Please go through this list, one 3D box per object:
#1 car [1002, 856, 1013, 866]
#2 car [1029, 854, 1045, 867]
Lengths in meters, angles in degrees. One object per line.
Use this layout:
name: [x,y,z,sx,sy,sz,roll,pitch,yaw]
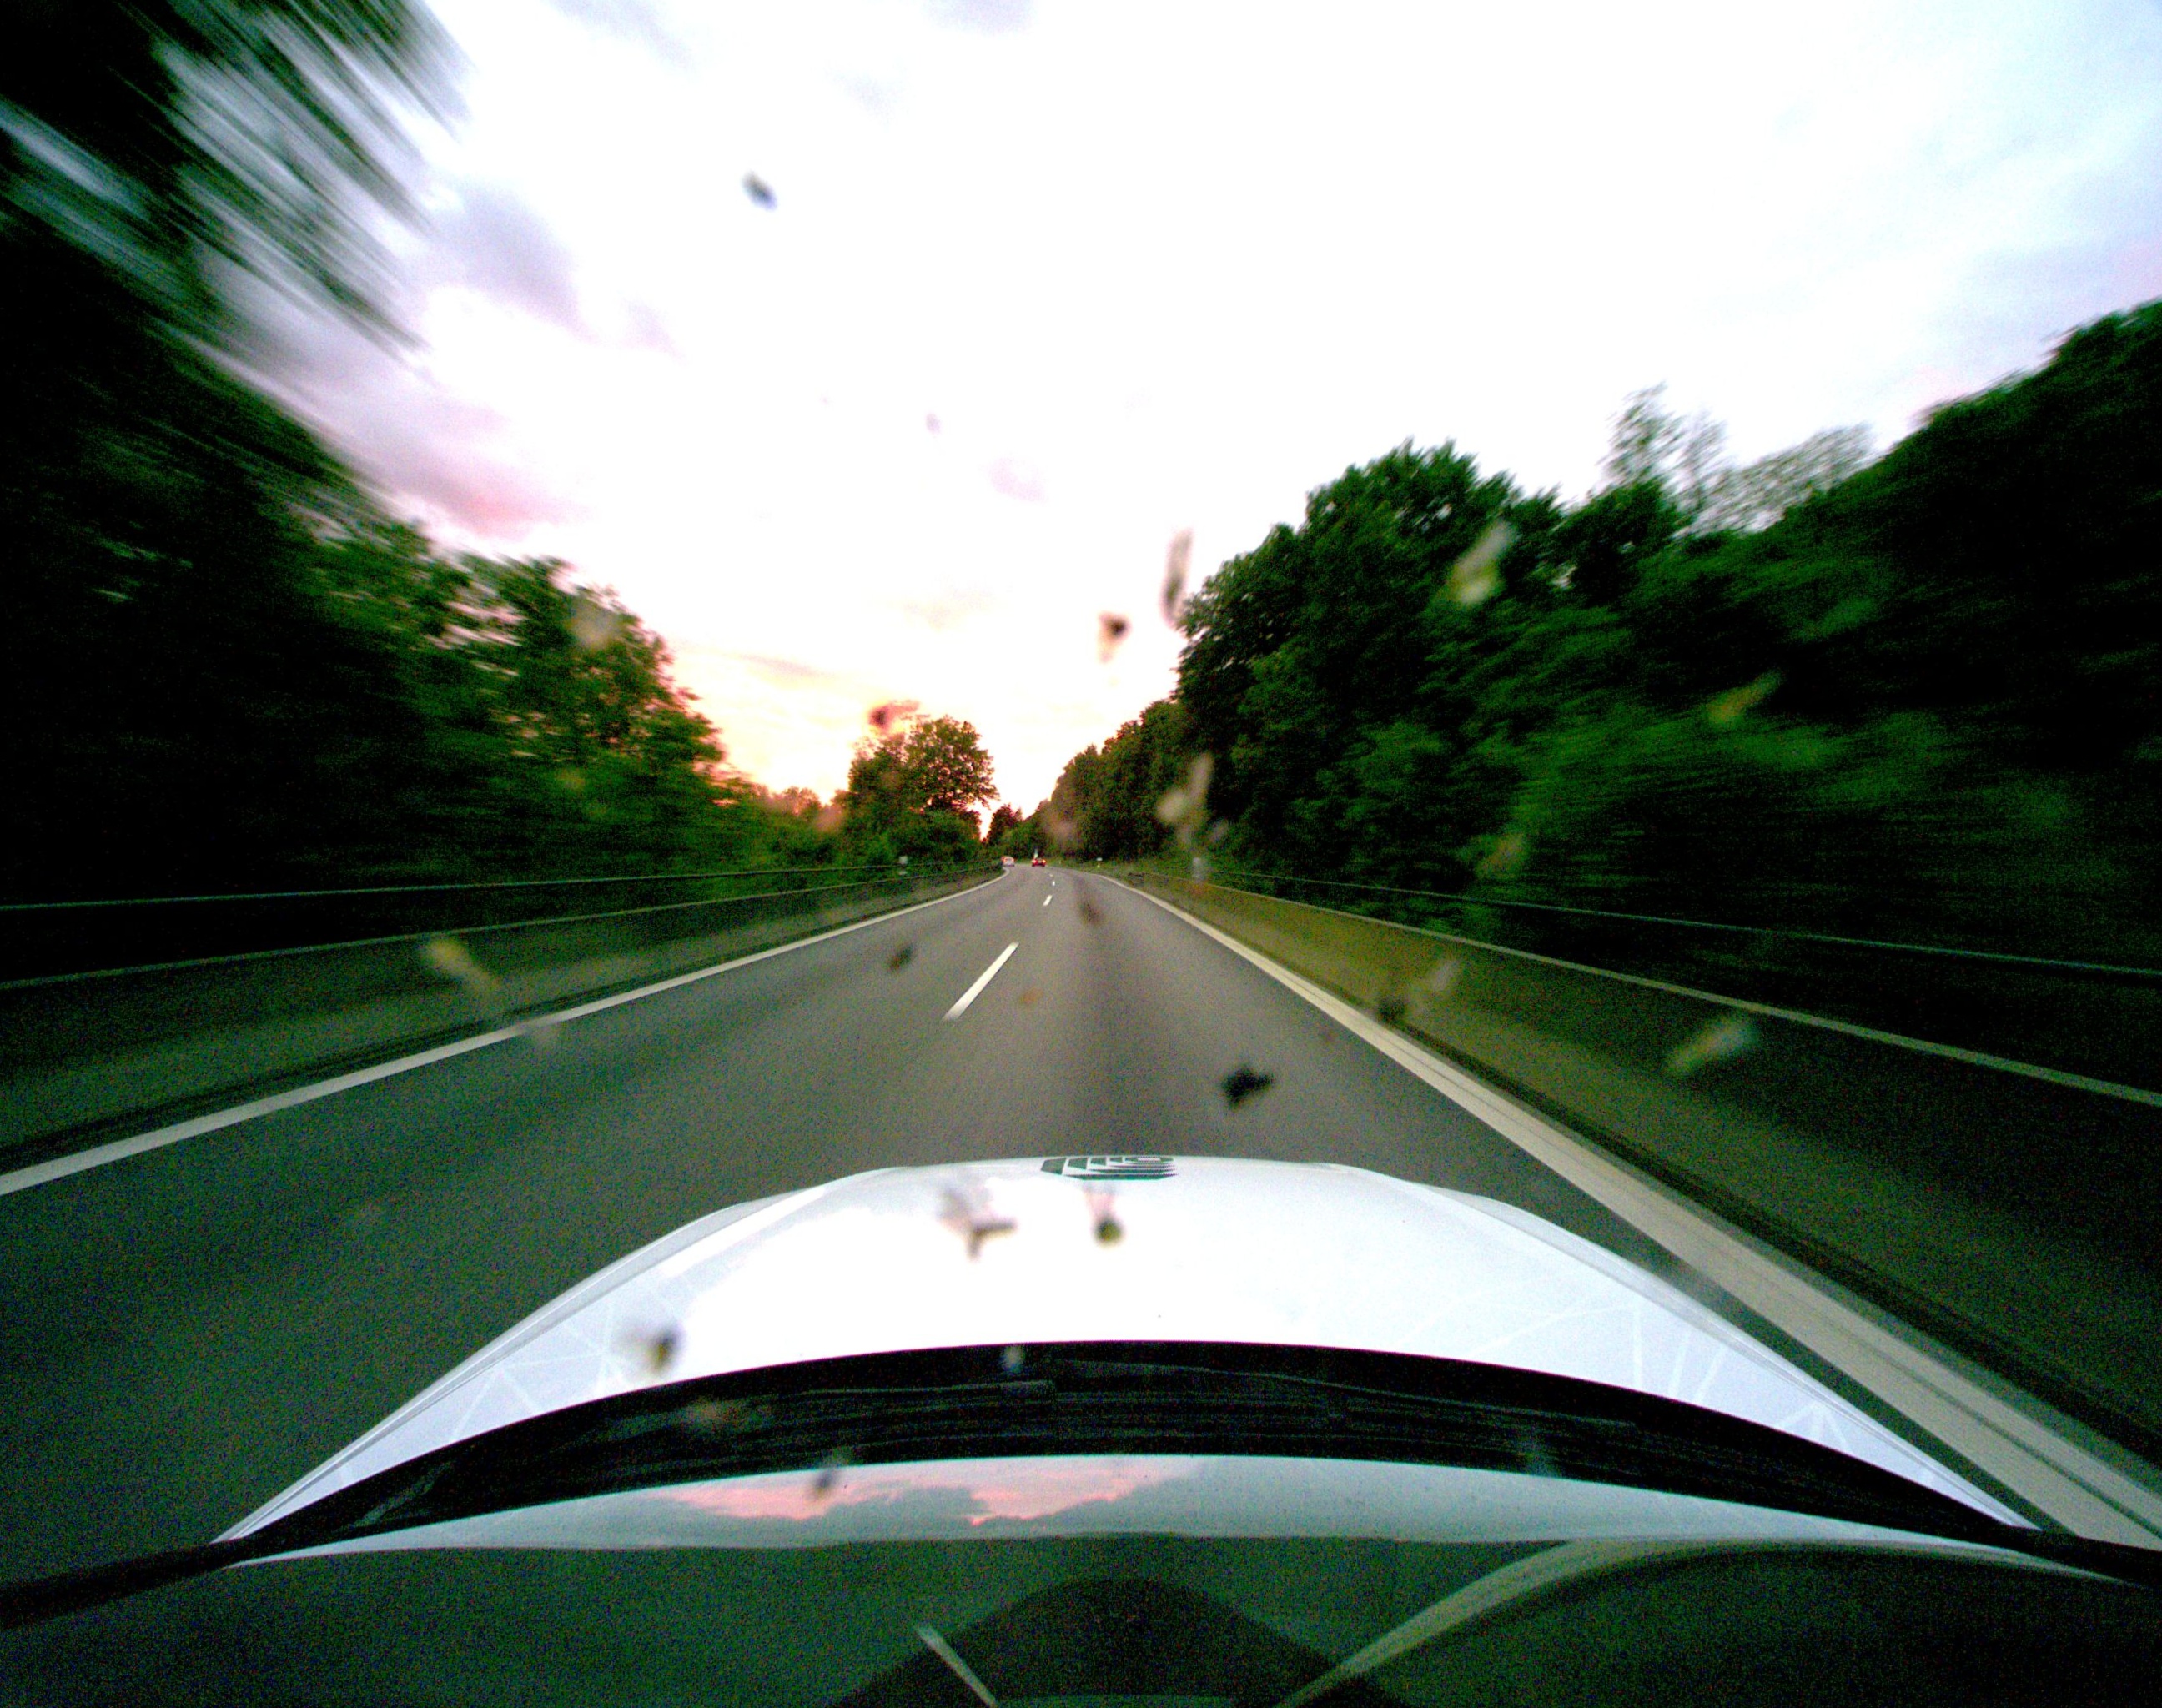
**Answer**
car: [-11.968,1.231,133.468,1.715,1.502,3.992,1,-2,-5]
car: [-7.028,1.050,129.231,1.994,1.646,3.983,3,-4,-11]
